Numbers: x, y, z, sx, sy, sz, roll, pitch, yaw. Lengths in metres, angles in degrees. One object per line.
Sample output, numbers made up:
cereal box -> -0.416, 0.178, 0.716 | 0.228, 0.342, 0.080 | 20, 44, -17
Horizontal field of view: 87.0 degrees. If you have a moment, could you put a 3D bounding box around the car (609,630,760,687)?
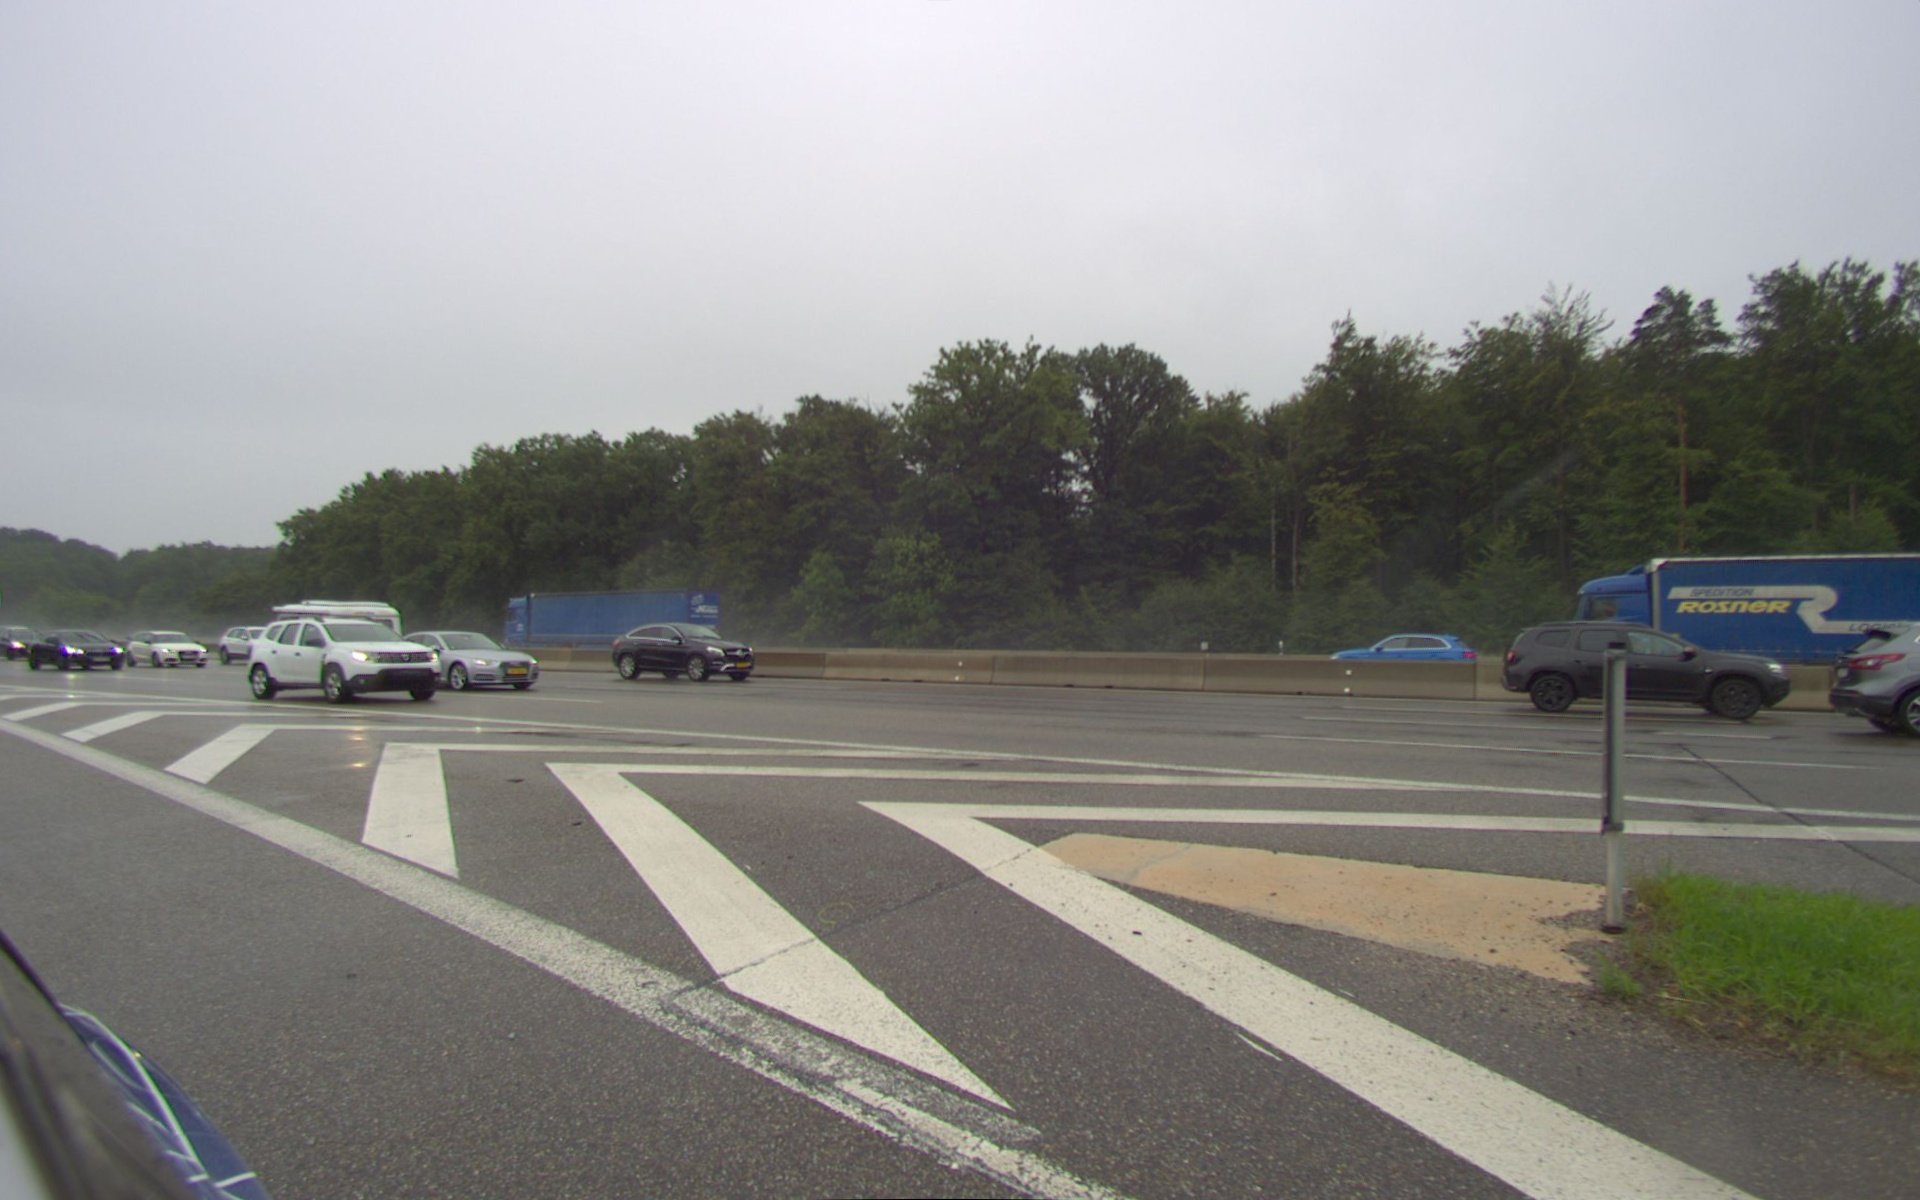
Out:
car -> -8.261, 1.730, 30.235 | 4.508, 1.587, 1.692 | -1, -4, 31

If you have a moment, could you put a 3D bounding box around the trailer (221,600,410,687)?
trailer -> -17.396, 1.194, 27.270 | 5.158, 2.172, 2.114 | -2, -4, 30

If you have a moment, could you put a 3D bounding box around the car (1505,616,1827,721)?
car -> 12.298, 1.180, 18.069 | 4.439, 1.676, 1.913 | -1, -3, 28

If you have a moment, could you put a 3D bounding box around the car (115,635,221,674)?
car -> -31.962, 2.155, 40.827 | 4.486, 1.492, 1.866 | -1, -3, 31

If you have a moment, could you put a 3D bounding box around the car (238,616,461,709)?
car -> -11.650, 1.184, 19.261 | 4.306, 1.598, 1.773 | -2, -4, 30

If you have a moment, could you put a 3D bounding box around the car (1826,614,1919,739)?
car -> 13.986, 0.982, 12.799 | 4.319, 1.586, 1.705 | -1, -3, 31

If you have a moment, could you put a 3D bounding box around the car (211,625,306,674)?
car -> -31.204, 2.185, 44.977 | 3.983, 2.029, 1.923 | -2, 0, 29

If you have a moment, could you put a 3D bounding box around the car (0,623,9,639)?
car -> -112.957, 3.625, 118.175 | 3.983, 1.763, 1.674 | -1, -2, 29

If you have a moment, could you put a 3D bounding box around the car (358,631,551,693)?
car -> -11.968, 1.450, 23.904 | 4.563, 1.358, 1.833 | -2, -4, 30

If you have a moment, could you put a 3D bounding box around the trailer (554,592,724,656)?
trailer -> -18.766, 1.446, 58.676 | 11.359, 3.443, 2.712 | -1, -2, 32

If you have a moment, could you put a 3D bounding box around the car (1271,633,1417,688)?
car -> 12.954, 1.999, 34.195 | 4.352, 1.732, 1.979 | -1, -3, 31

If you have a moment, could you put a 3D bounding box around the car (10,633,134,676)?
car -> -32.154, 1.951, 36.625 | 4.481, 1.492, 1.868 | -1, -3, 28

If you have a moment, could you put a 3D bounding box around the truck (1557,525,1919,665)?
truck -> 25.119, -0.165, 32.096 | 10.516, 4.009, 3.040 | -1, 2, 30

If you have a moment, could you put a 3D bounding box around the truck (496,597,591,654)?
truck -> -26.022, 1.611, 63.193 | 5.691, 3.441, 2.741 | -1, -2, 32

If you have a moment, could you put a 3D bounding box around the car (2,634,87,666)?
car -> -43.364, 2.387, 47.925 | 4.107, 1.425, 1.805 | -3, -4, 30

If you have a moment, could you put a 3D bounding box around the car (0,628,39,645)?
car -> -85.893, 3.360, 92.263 | 4.320, 1.538, 1.775 | -2, -2, 32
